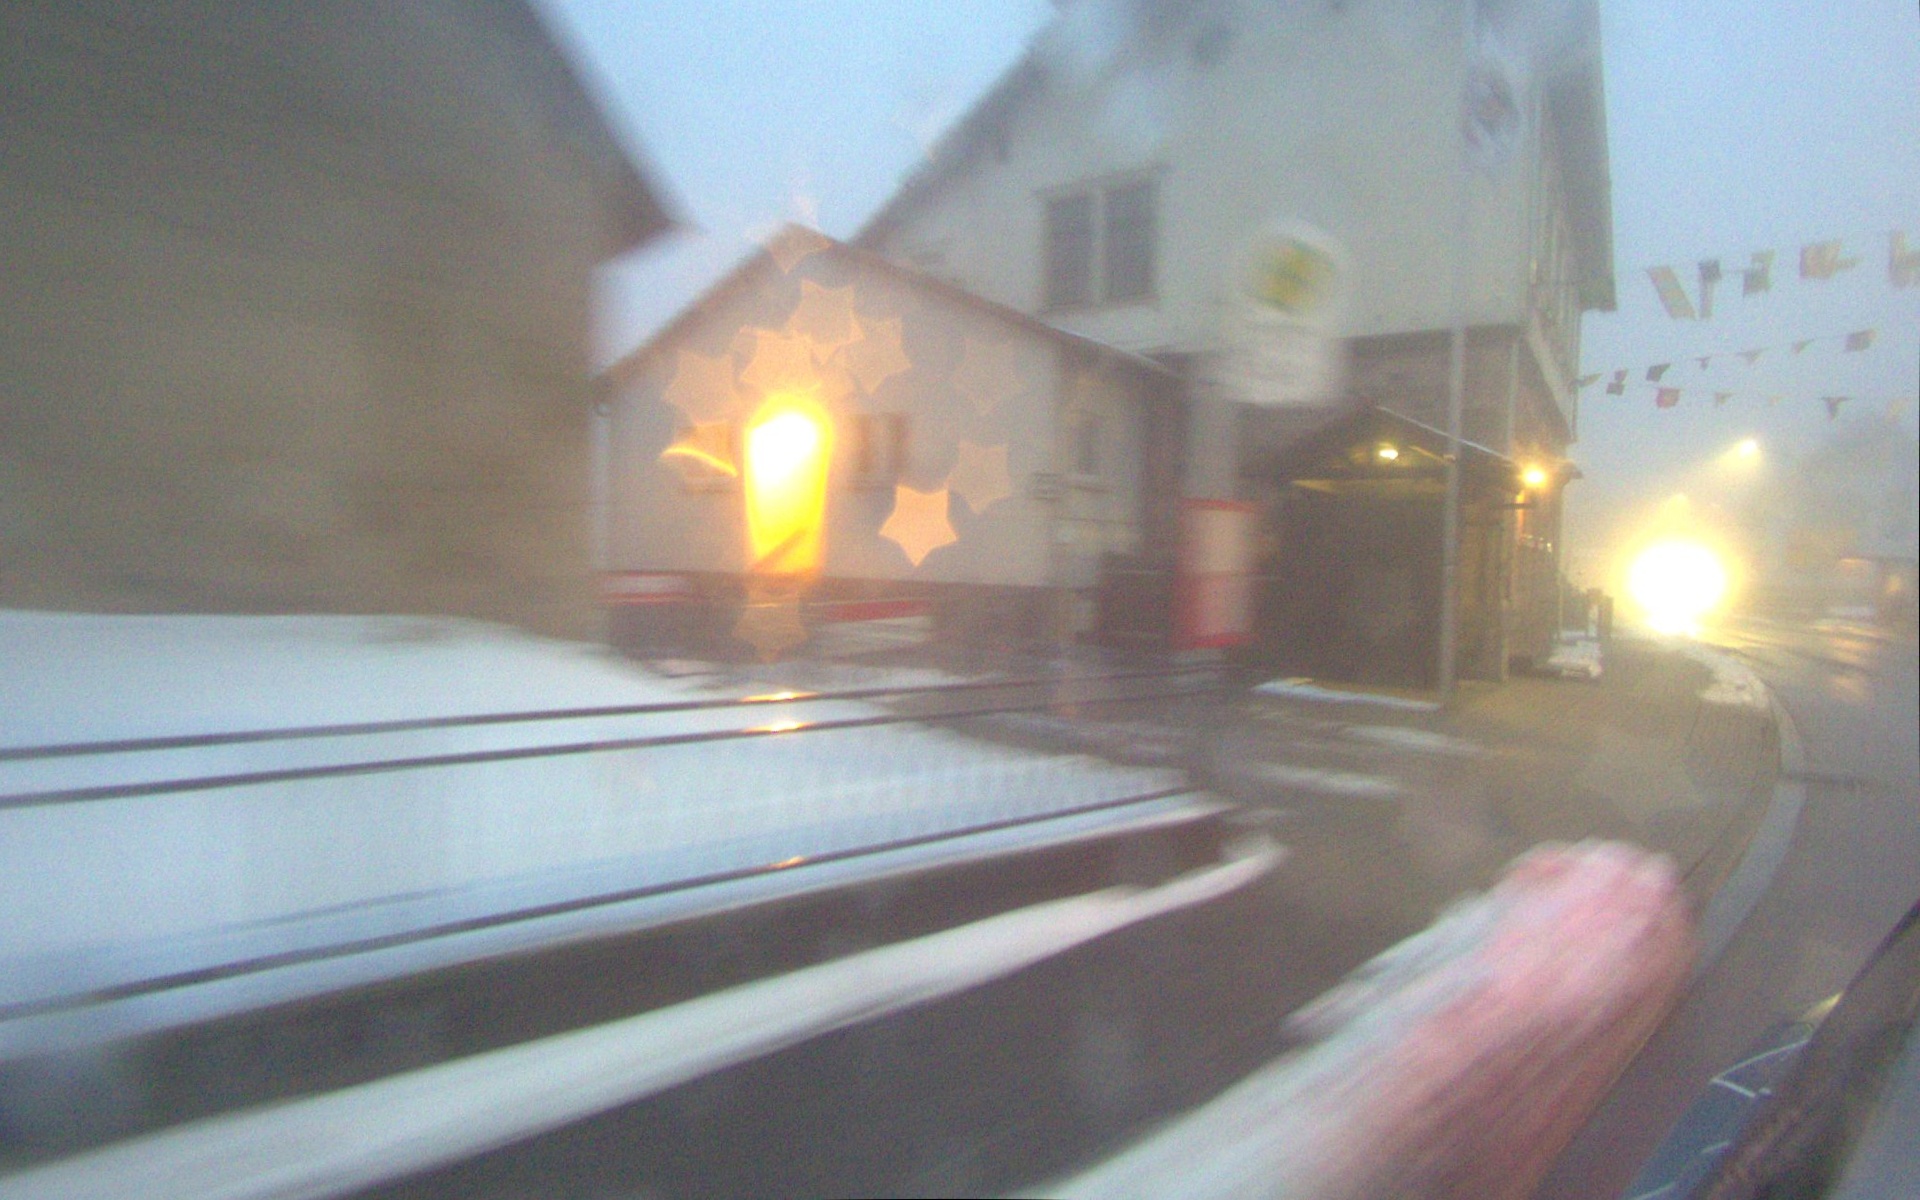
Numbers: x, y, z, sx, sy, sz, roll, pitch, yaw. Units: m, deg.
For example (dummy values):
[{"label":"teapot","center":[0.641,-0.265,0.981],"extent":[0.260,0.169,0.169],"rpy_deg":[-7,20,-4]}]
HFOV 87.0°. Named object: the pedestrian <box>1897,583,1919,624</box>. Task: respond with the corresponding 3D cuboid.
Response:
[{"label":"pedestrian","center":[31.719,0.110,33.556],"extent":[0.803,1.346,0.654],"rpy_deg":[1,1,29]}]
